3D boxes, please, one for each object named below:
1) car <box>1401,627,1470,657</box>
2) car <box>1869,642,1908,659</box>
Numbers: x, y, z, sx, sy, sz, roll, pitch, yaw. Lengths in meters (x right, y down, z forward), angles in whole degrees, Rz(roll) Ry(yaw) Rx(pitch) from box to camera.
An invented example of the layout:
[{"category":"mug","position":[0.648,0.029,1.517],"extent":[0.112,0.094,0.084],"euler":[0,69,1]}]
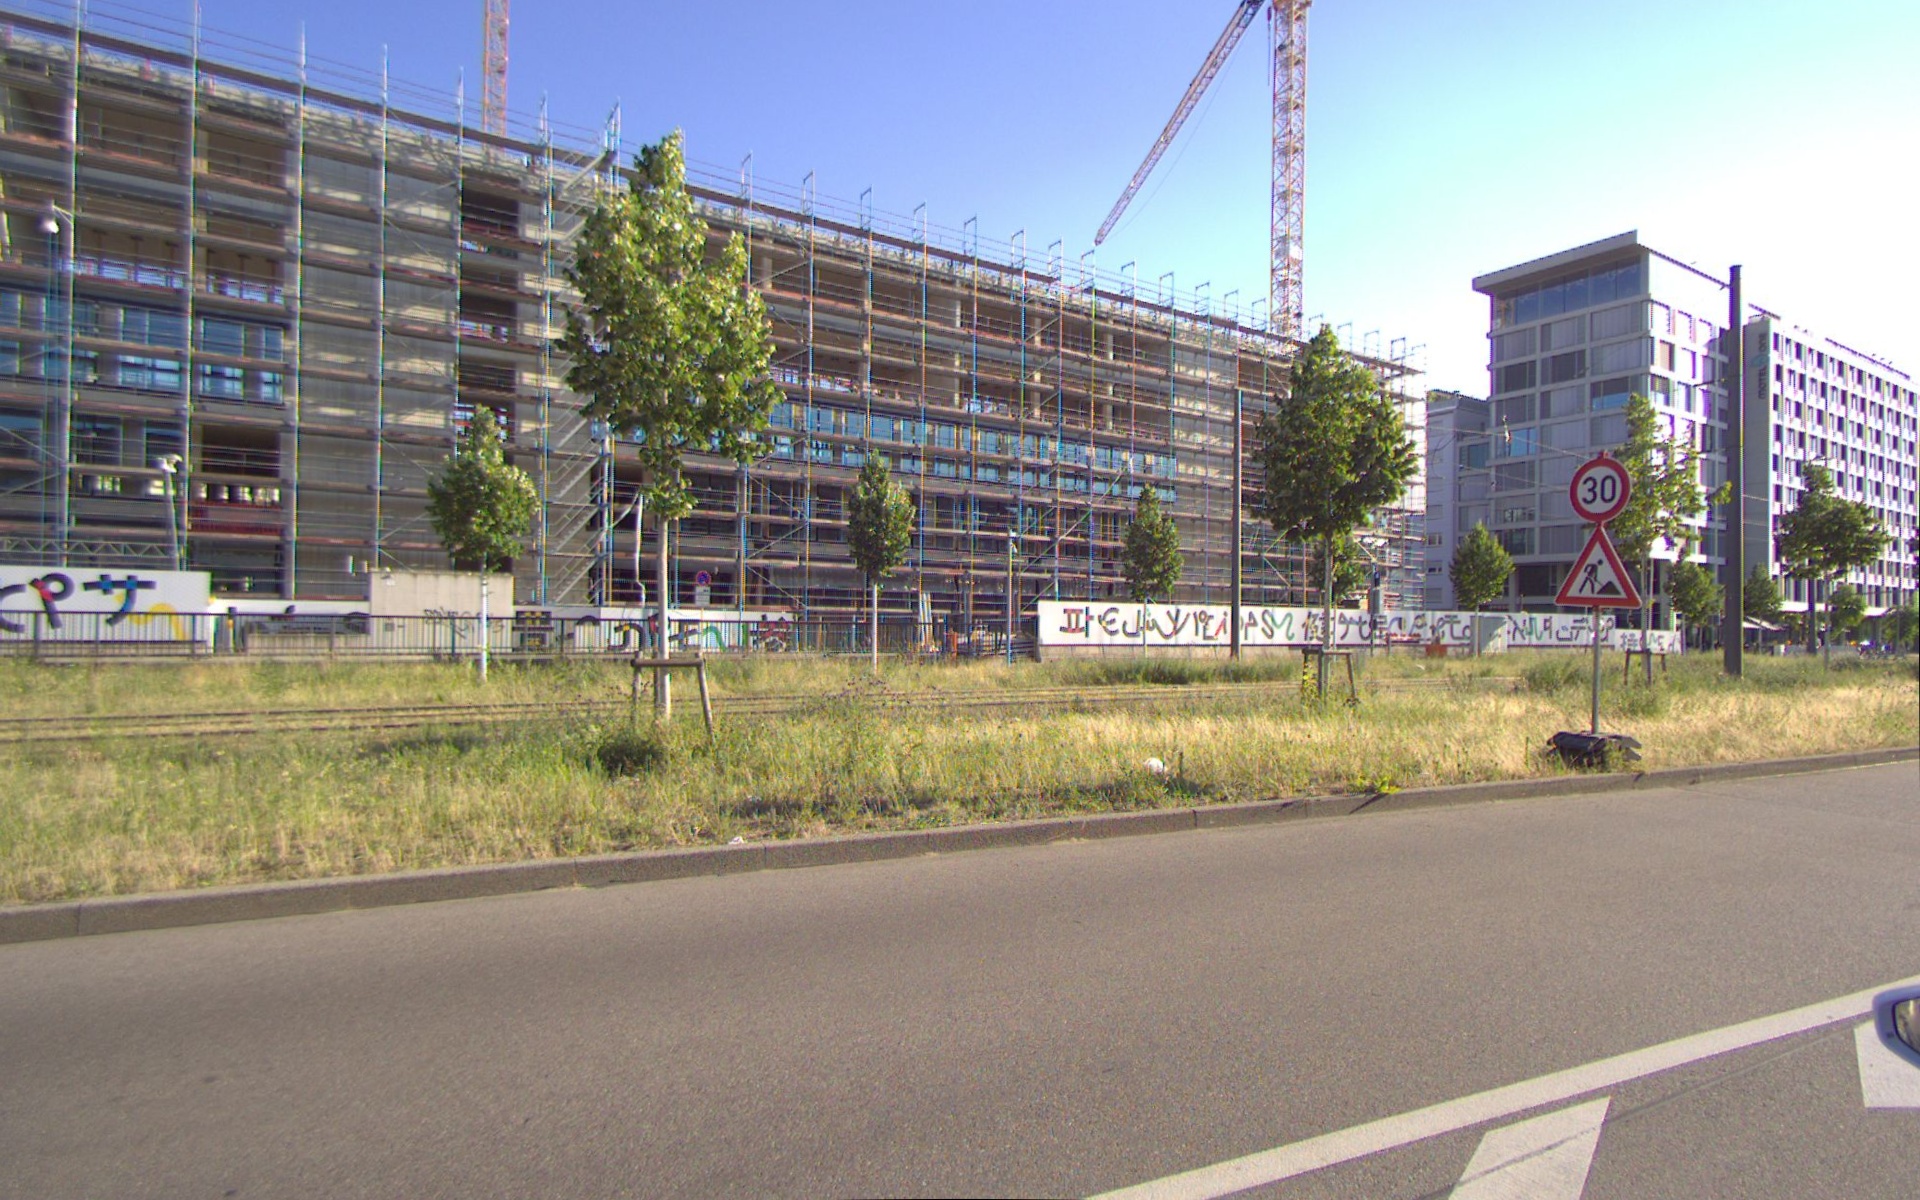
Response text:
[{"category":"car","position":[25.643,2.264,54.149],"extent":[3.543,1.461,1.699],"euler":[2,0,-32]},{"category":"car","position":[84.020,4.593,90.886],"extent":[3.543,1.461,1.699],"euler":[2,0,-32]}]
